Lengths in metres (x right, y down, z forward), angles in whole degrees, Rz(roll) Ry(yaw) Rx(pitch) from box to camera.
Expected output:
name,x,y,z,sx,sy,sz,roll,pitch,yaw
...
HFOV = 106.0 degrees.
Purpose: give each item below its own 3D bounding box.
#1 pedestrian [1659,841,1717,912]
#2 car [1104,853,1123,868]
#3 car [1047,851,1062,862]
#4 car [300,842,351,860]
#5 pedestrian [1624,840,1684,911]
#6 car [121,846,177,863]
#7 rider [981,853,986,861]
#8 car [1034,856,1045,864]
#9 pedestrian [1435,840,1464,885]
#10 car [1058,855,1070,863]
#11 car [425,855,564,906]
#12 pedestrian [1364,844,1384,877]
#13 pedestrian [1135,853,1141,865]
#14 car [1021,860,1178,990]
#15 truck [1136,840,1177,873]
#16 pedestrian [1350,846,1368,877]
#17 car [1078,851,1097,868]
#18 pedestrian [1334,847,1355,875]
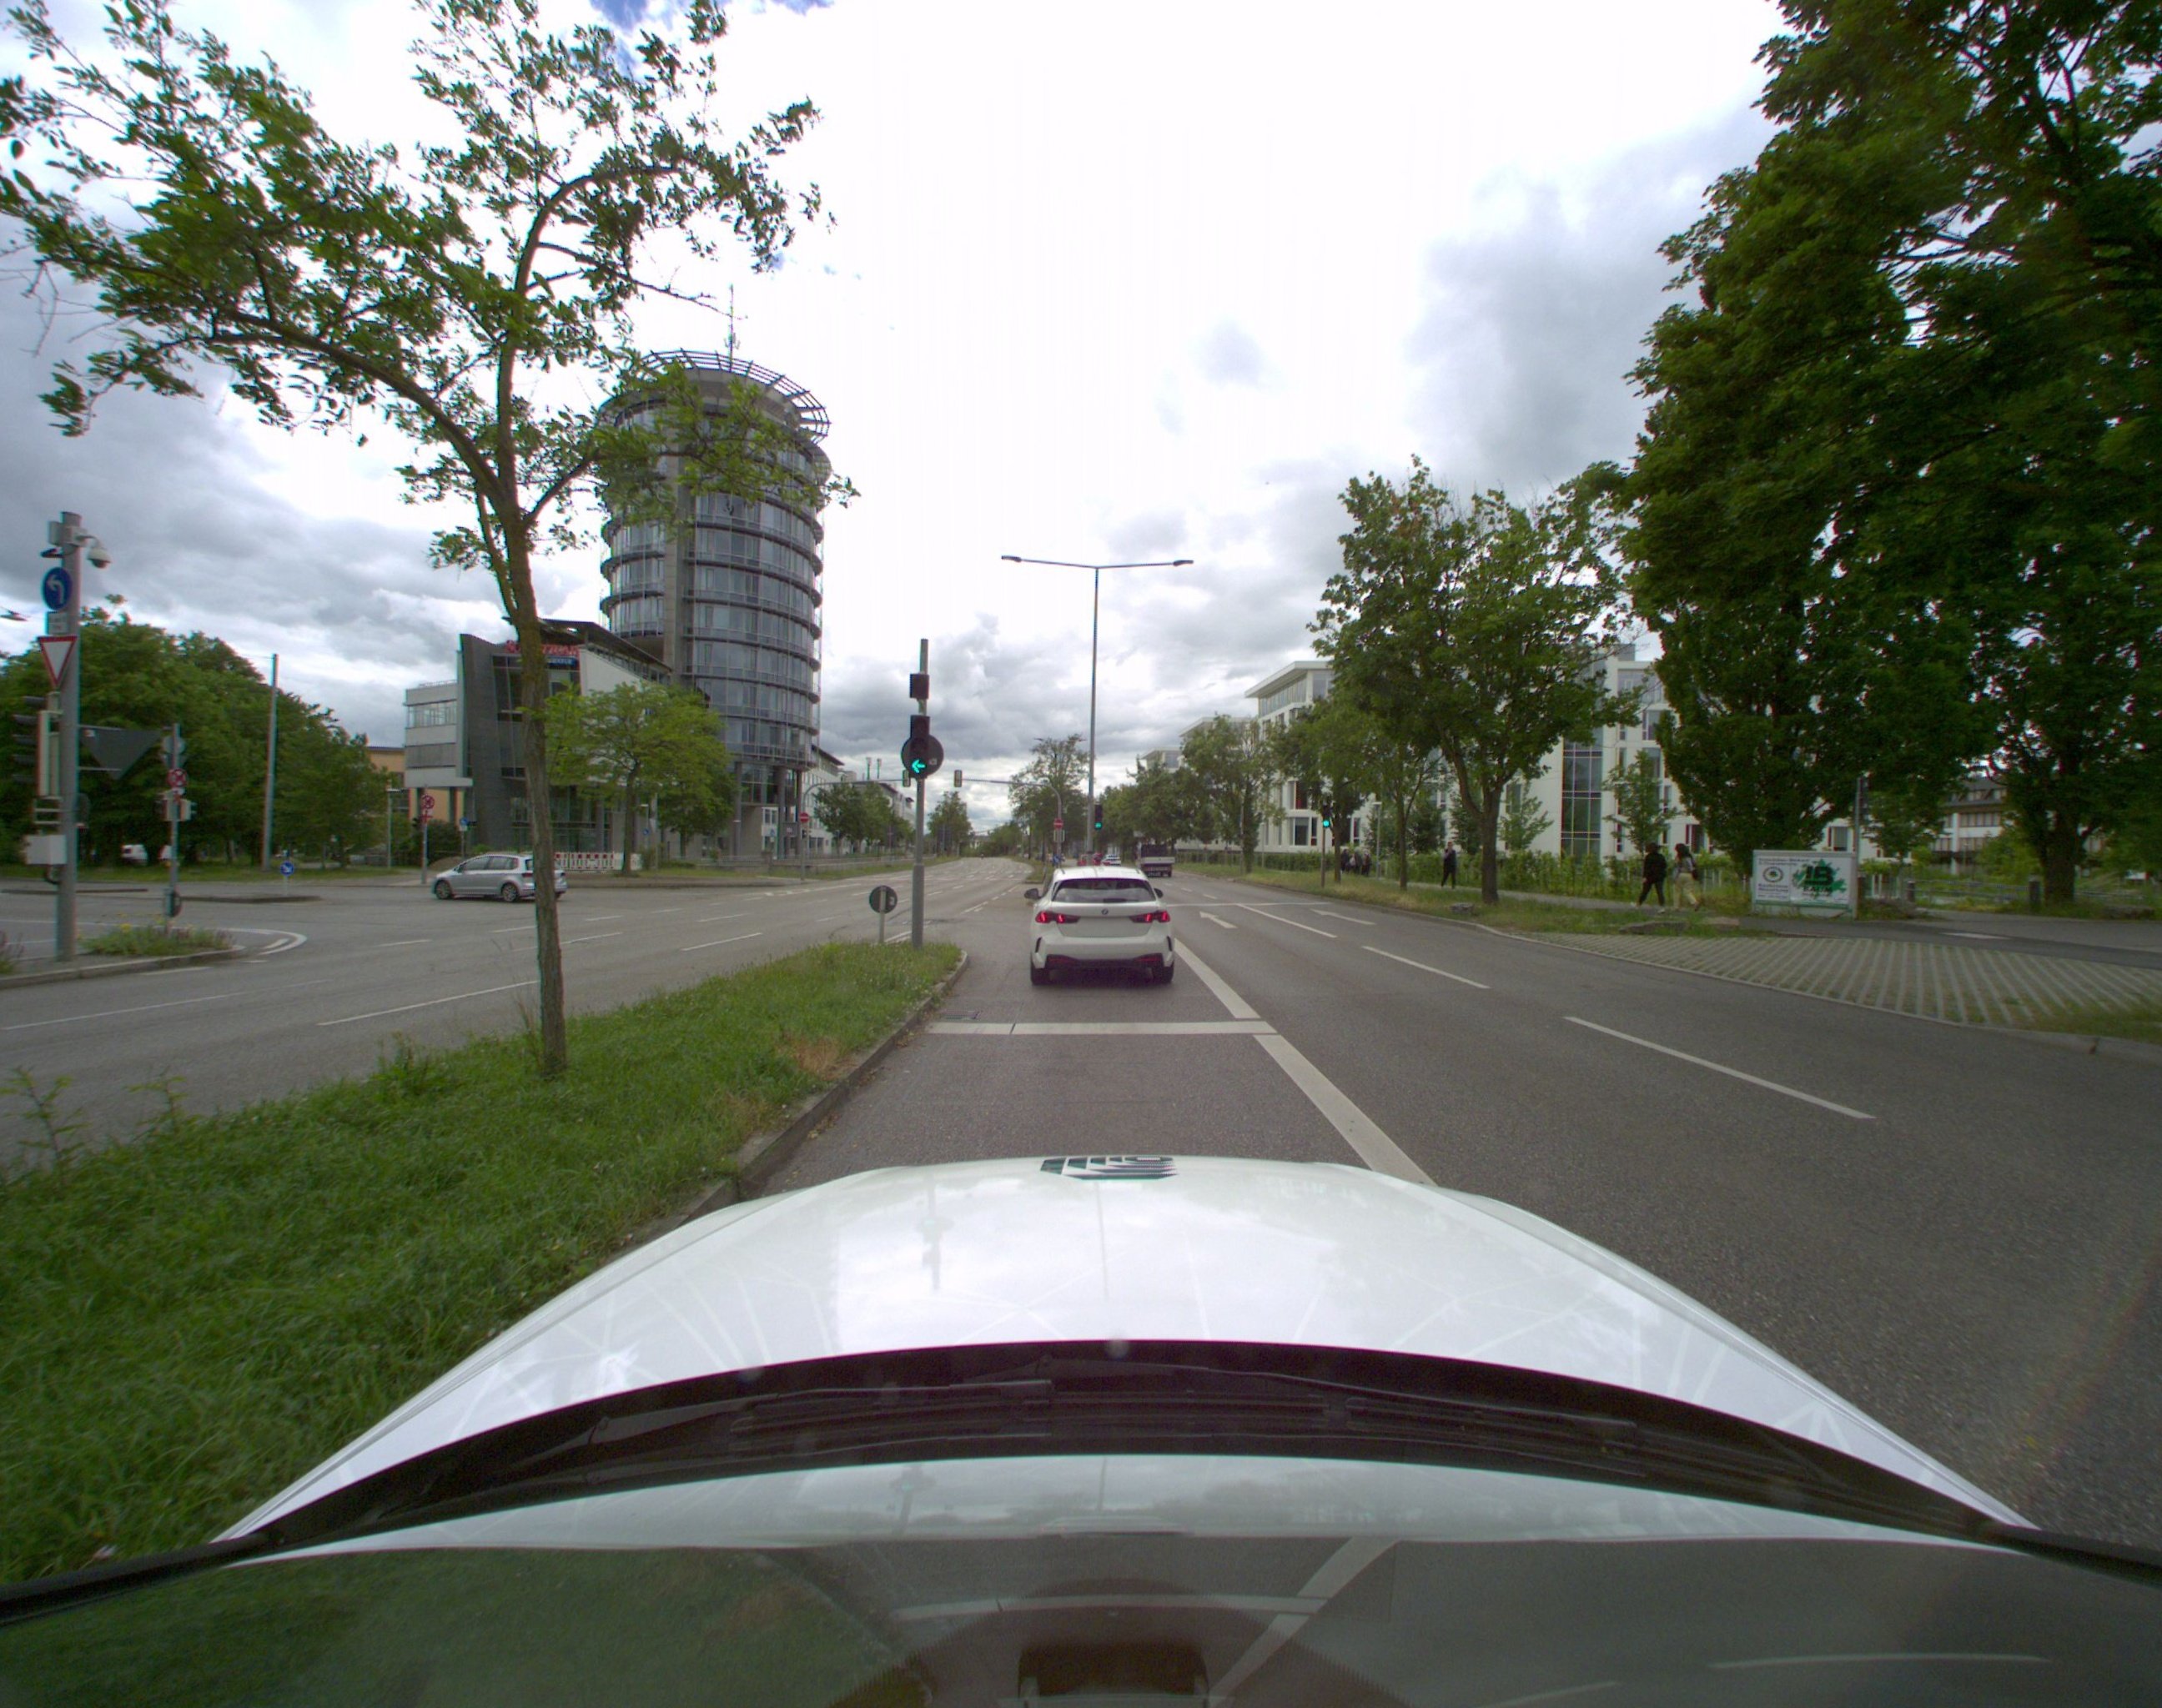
name,x,y,z,sx,sy,sz,roll,pitch,yaw
pedestrian,14.604,0.520,19.625,0.774,1.660,0.954,0,0,8
car,3.302,0.669,82.687,1.710,1.556,4.088,0,0,-1
car,-3.985,0.330,122.726,1.853,1.596,4.303,0,0,-7
car,-37.006,-0.141,39.924,0.766,0.876,1.729,0,0,39
pedestrian,13.803,0.498,19.650,0.791,1.660,1.062,0,0,8
car,-127.416,0.104,111.432,1.978,2.339,4.570,0,-1,17
rider,-22.020,0.638,184.025,0.843,1.771,0.807,0,-1,-1
car,-8.115,1.166,159.005,1.889,1.596,4.304,1,0,-6
pedestrian,12.989,0.307,28.736,0.738,1.574,0.674,0,-1,1
car,-3.123,0.939,150.925,1.852,1.596,4.305,0,0,-5
car,-19.490,0.844,27.086,3.958,1.569,1.561,1,-1,15
pedestrian,15.337,0.339,42.639,0.764,1.685,0.883,0,-1,1
pedestrian,9.456,0.897,135.672,0.763,2.014,0.751,0,-1,-12
car,0.306,0.843,11.477,1.815,1.438,4.003,1,0,2
truck,5.234,0.212,57.466,2.205,2.203,5.840,0,0,-1
pedestrian,14.578,0.383,42.708,0.697,1.596,0.883,0,-1,1
car,0.619,0.545,78.415,1.711,1.558,3.856,-1,0,-1
pedestrian,13.826,0.383,42.773,0.786,1.448,1.112,0,-1,1
